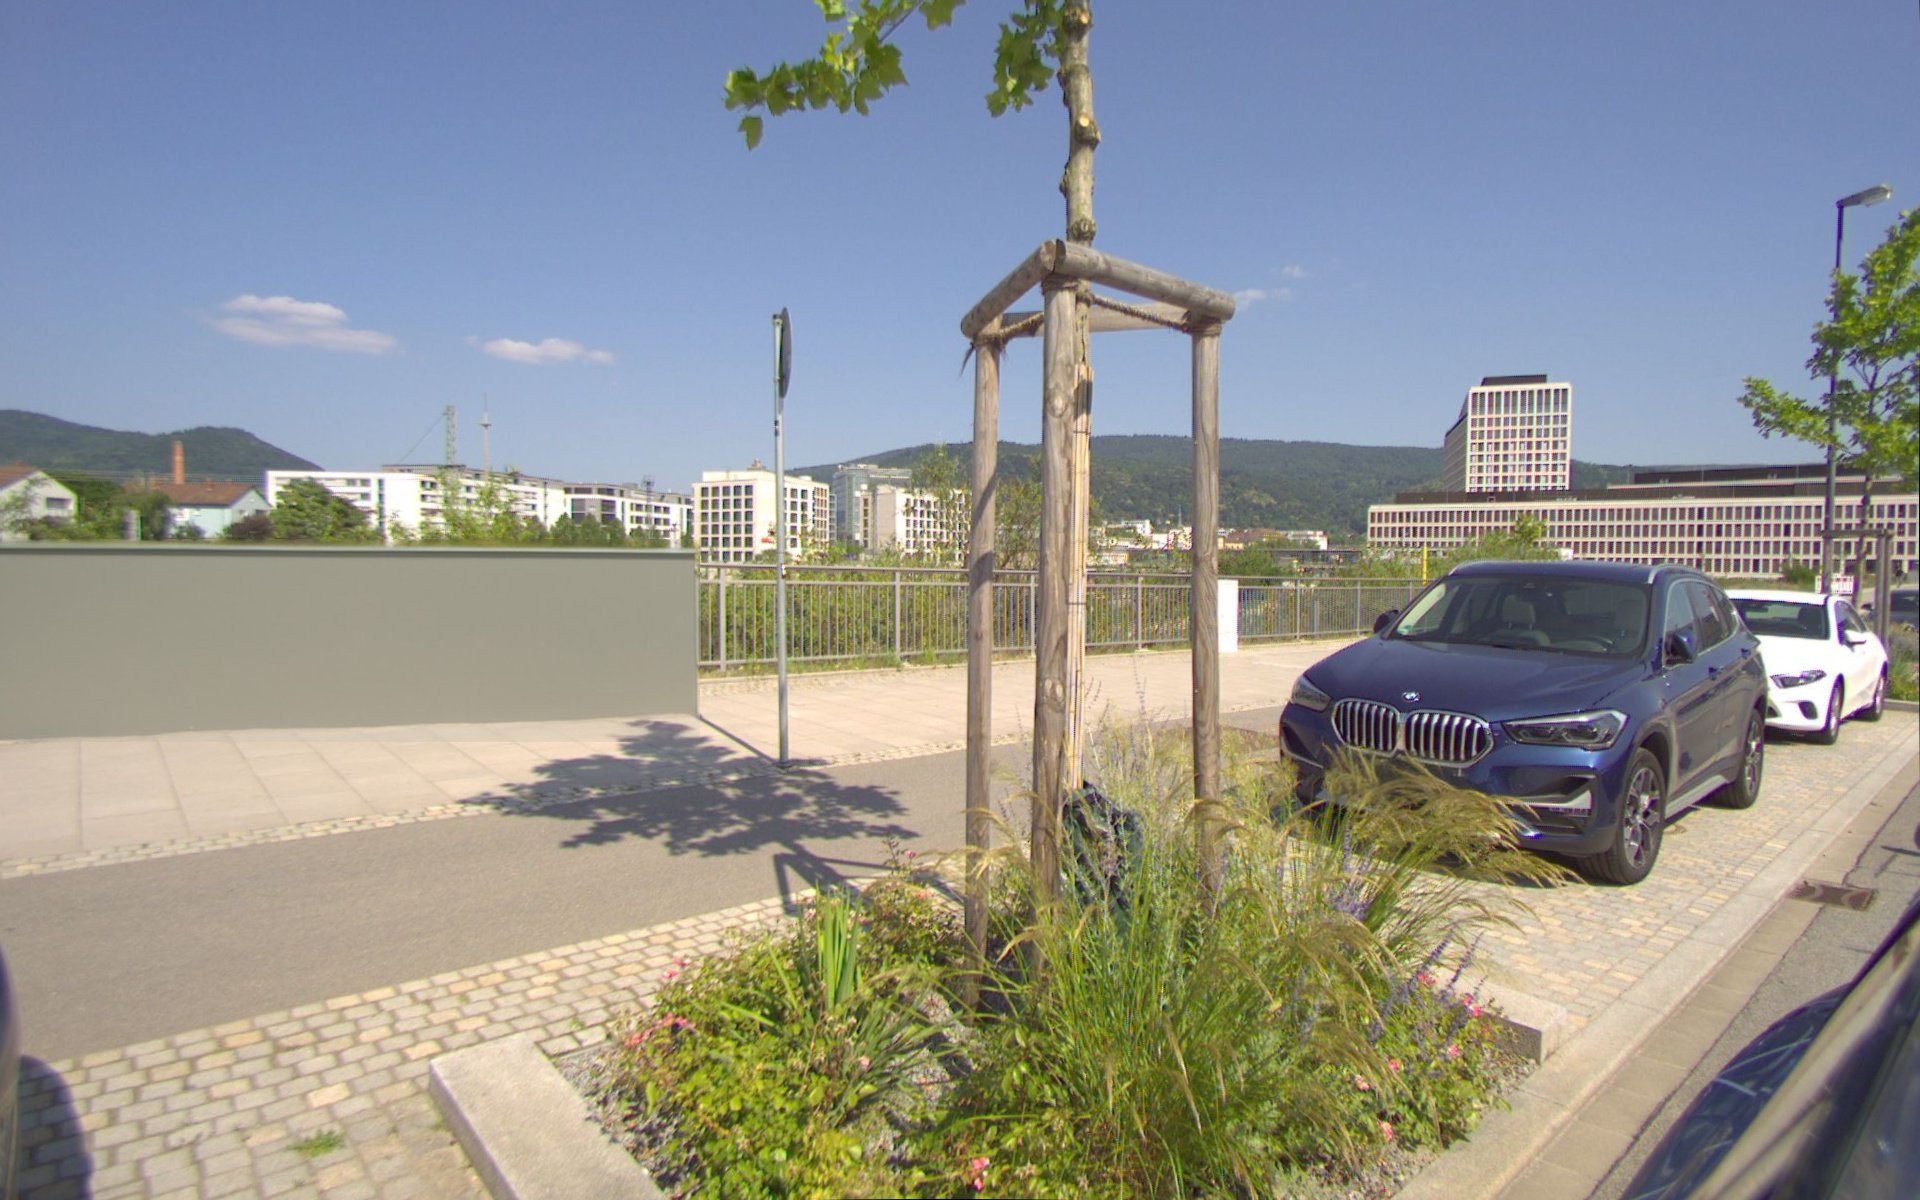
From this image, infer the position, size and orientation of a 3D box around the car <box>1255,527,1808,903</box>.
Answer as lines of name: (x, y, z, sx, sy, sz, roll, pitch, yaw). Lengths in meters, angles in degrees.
car: (3.812, 0.472, 6.416, 4.164, 1.627, 1.768, -1, 0, -41)

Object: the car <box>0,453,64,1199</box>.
car: (-2.987, 0.559, 0.377, 3.930, 1.444, 1.664, -1, 3, -41)

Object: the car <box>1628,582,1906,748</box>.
car: (8.806, 0.556, 10.934, 3.930, 1.473, 1.663, -1, 0, -41)

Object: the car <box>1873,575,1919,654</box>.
car: (20.400, 0.265, 21.029, 3.930, 1.558, 1.663, -1, 0, -41)
